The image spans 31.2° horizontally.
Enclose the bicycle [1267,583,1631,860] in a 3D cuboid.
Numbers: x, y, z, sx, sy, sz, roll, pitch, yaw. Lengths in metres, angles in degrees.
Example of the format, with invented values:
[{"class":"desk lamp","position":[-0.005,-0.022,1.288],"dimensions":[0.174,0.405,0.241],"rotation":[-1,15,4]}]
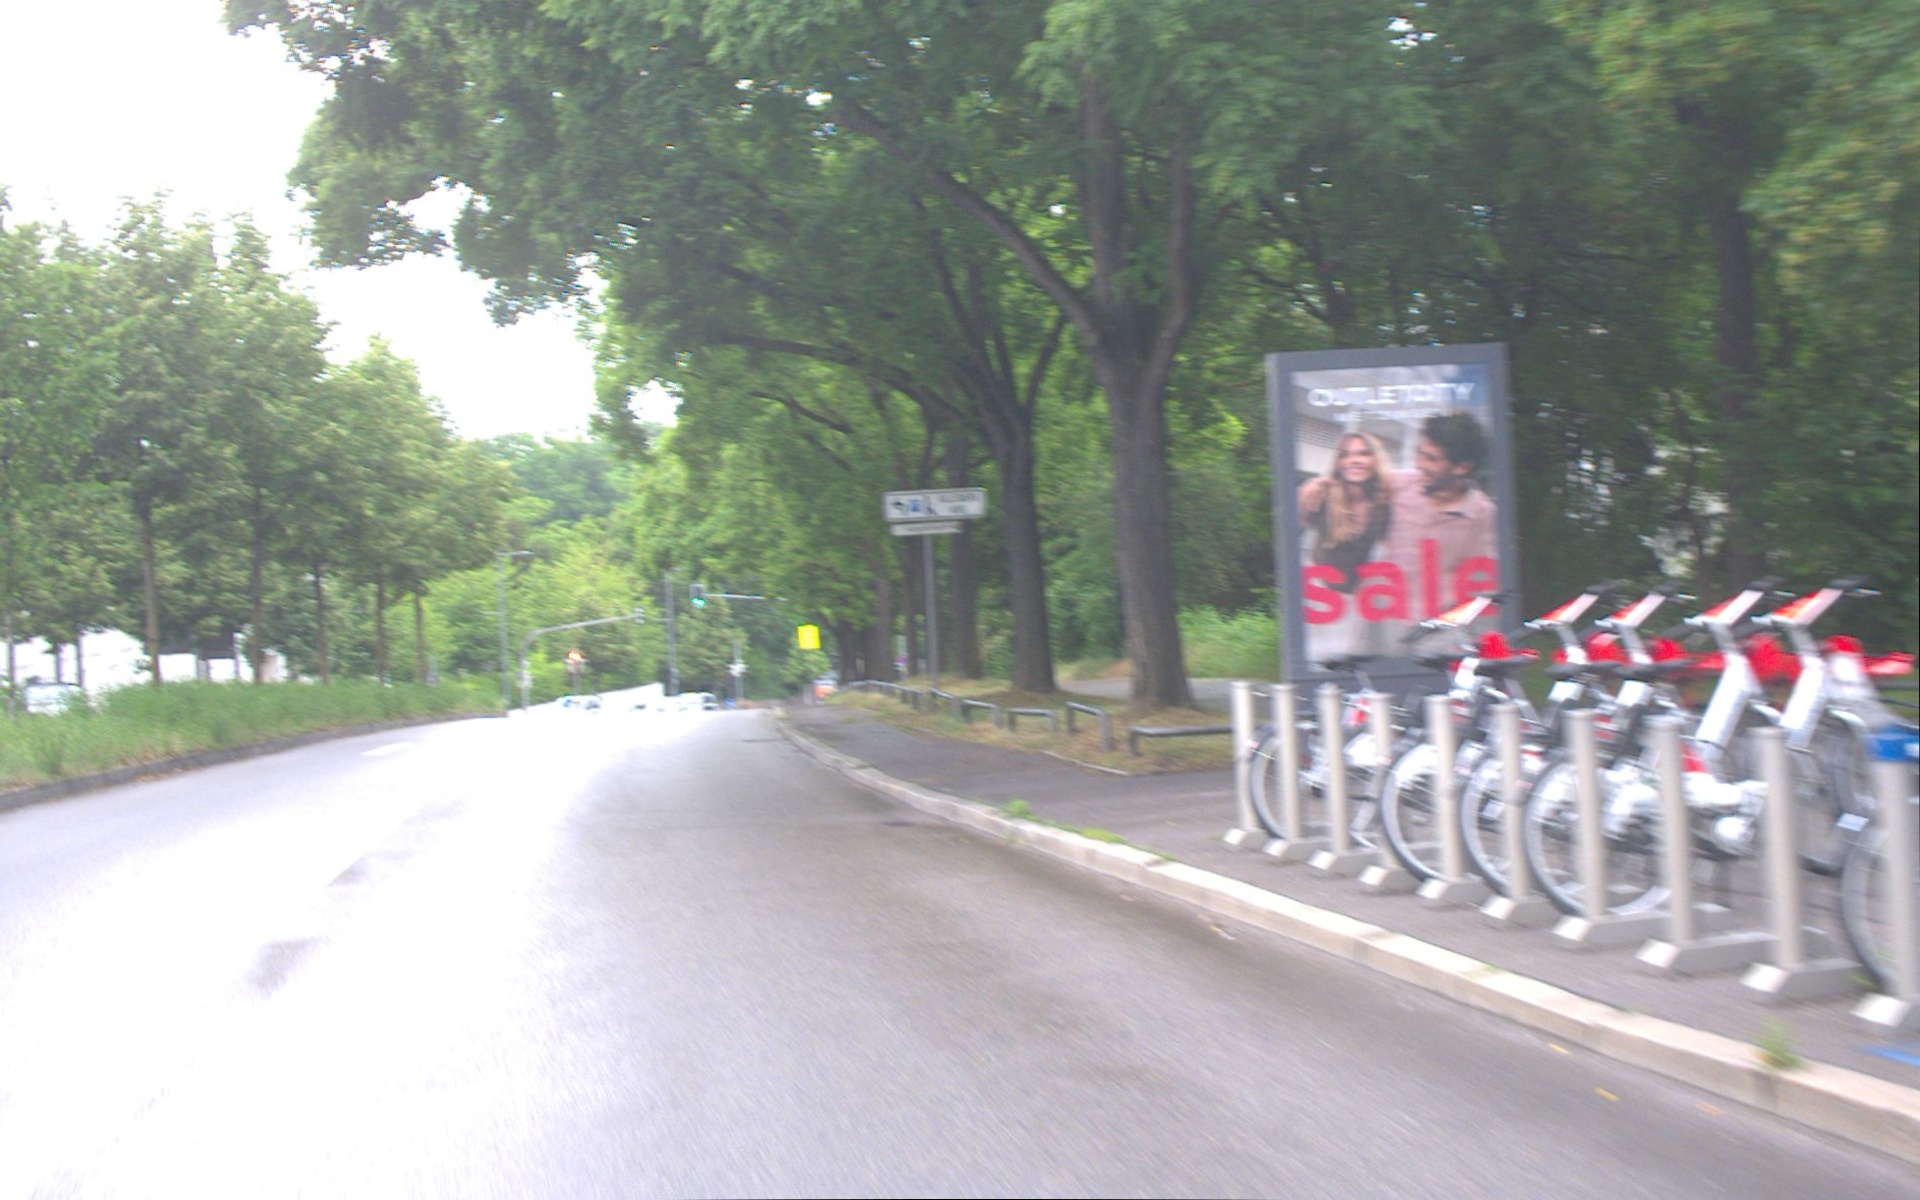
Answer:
[{"class":"bicycle","position":[2.268,0.553,16.006],"dimensions":[1.485,1.127,0.557],"rotation":[-5,0,-10]}]

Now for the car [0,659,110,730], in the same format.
[{"class":"car","position":[-21.270,2.207,80.759],"dimensions":[1.695,1.439,3.860],"rotation":[-2,1,-1]}]

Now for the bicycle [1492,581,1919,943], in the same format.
[{"class":"bicycle","position":[2.750,0.562,12.293],"dimensions":[1.485,1.127,0.557],"rotation":[-5,0,-10]}]

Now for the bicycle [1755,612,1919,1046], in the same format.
[{"class":"bicycle","position":[3.135,0.565,9.611],"dimensions":[1.595,1.127,0.557],"rotation":[-5,0,-10]}]

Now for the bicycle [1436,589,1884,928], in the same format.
[{"class":"bicycle","position":[2.662,0.588,13.122],"dimensions":[1.485,1.127,0.557],"rotation":[-5,0,-10]}]

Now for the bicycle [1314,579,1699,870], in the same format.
[{"class":"bicycle","position":[2.407,0.538,15.184],"dimensions":[1.485,1.127,0.557],"rotation":[-5,0,-10]}]

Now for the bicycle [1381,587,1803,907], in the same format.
[{"class":"bicycle","position":[2.545,0.581,13.894],"dimensions":[1.485,1.127,0.557],"rotation":[-5,0,-10]}]
